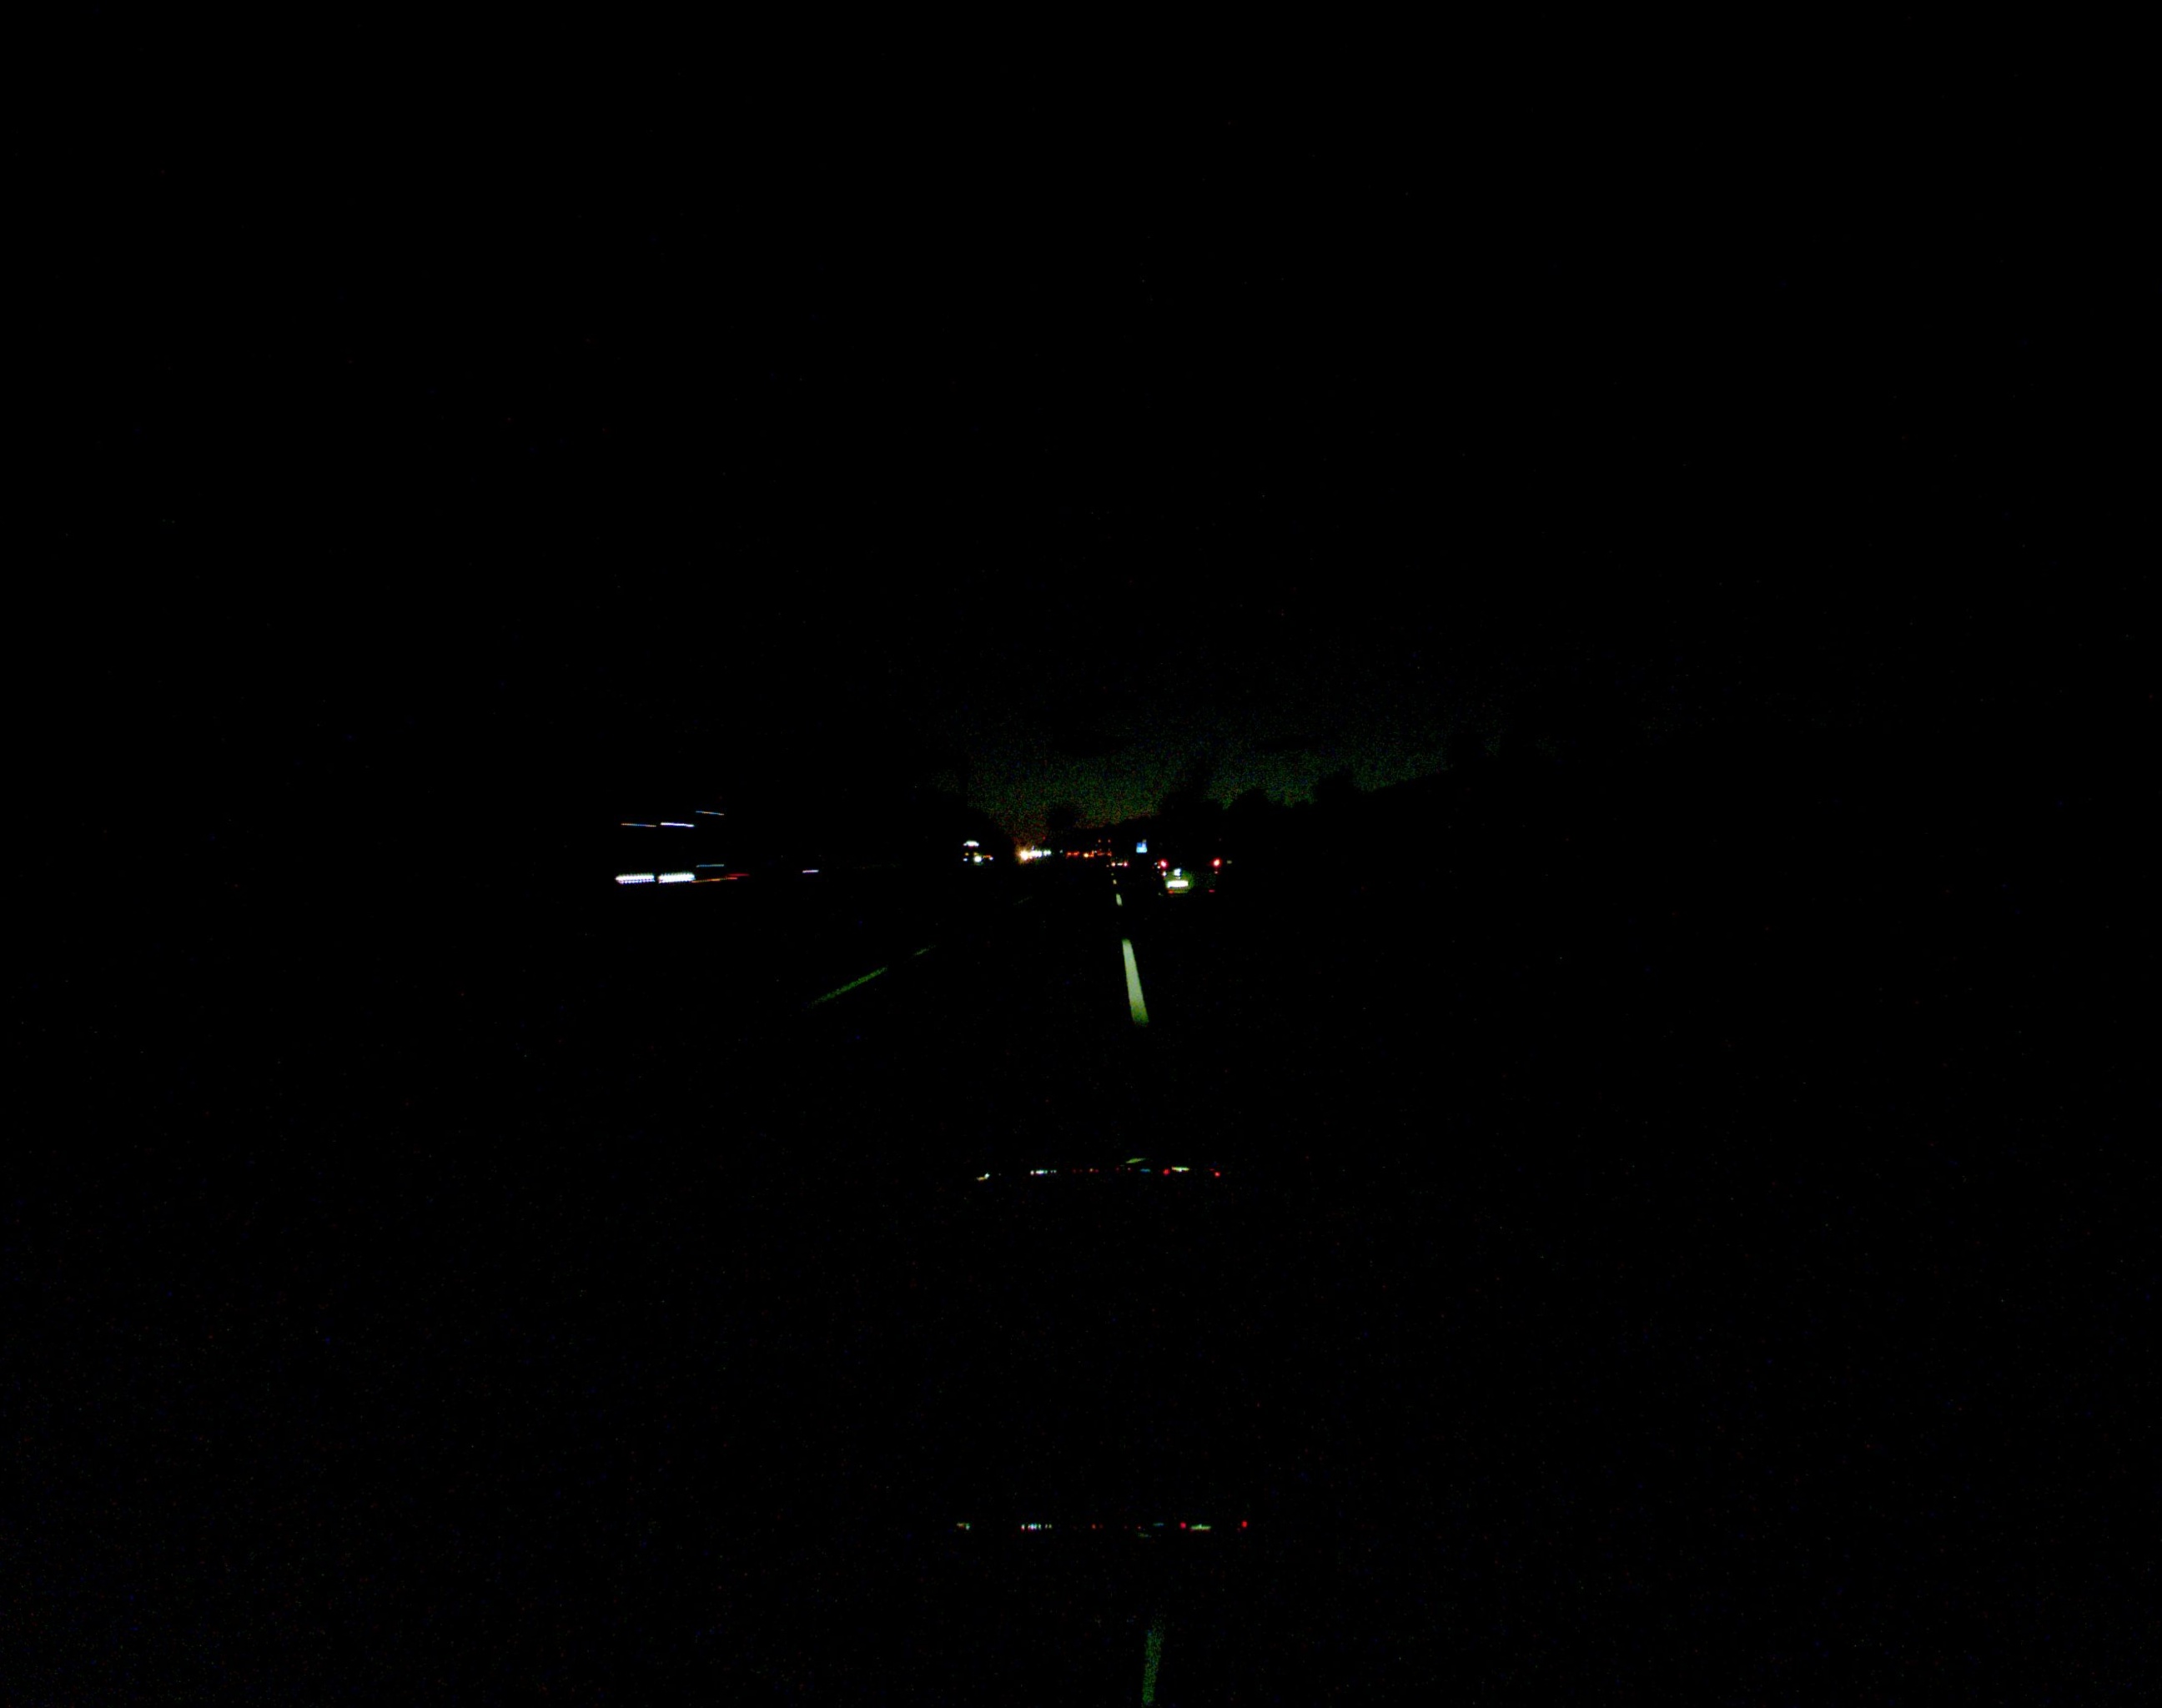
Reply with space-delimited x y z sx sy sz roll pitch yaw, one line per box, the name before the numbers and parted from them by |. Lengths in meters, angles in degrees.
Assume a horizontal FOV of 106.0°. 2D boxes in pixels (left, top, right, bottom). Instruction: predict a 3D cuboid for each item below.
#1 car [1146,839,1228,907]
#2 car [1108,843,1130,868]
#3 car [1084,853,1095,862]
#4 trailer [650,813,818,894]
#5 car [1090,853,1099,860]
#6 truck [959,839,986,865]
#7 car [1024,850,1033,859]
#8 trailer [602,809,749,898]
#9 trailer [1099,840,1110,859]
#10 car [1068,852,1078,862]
car | 3.410 0.570 27.235 2.108 2.001 5.665 -1 0 1
car | 4.128 0.135 89.733 2.026 2.647 5.722 -1 0 -1
car | 1.593 0.693 162.488 1.989 1.794 3.996 -1 -2 -2
trailer | -19.718 -0.014 47.979 3.417 3.980 14.054 -1 0 2
car | 3.909 0.718 237.145 1.990 2.117 3.993 -1 -2 -5
truck | -17.411 -0.296 131.520 3.418 3.980 6.207 -1 0 0
car | -14.005 0.150 217.331 2.094 2.517 6.215 -1 0 0
trailer | -19.956 -0.028 40.747 3.417 3.980 7.355 -1 0 2
trailer | 5.961 -1.025 207.165 2.819 4.257 17.051 -1 -2 1
car | -1.660 0.640 173.967 1.987 1.816 3.999 -1 -2 0
